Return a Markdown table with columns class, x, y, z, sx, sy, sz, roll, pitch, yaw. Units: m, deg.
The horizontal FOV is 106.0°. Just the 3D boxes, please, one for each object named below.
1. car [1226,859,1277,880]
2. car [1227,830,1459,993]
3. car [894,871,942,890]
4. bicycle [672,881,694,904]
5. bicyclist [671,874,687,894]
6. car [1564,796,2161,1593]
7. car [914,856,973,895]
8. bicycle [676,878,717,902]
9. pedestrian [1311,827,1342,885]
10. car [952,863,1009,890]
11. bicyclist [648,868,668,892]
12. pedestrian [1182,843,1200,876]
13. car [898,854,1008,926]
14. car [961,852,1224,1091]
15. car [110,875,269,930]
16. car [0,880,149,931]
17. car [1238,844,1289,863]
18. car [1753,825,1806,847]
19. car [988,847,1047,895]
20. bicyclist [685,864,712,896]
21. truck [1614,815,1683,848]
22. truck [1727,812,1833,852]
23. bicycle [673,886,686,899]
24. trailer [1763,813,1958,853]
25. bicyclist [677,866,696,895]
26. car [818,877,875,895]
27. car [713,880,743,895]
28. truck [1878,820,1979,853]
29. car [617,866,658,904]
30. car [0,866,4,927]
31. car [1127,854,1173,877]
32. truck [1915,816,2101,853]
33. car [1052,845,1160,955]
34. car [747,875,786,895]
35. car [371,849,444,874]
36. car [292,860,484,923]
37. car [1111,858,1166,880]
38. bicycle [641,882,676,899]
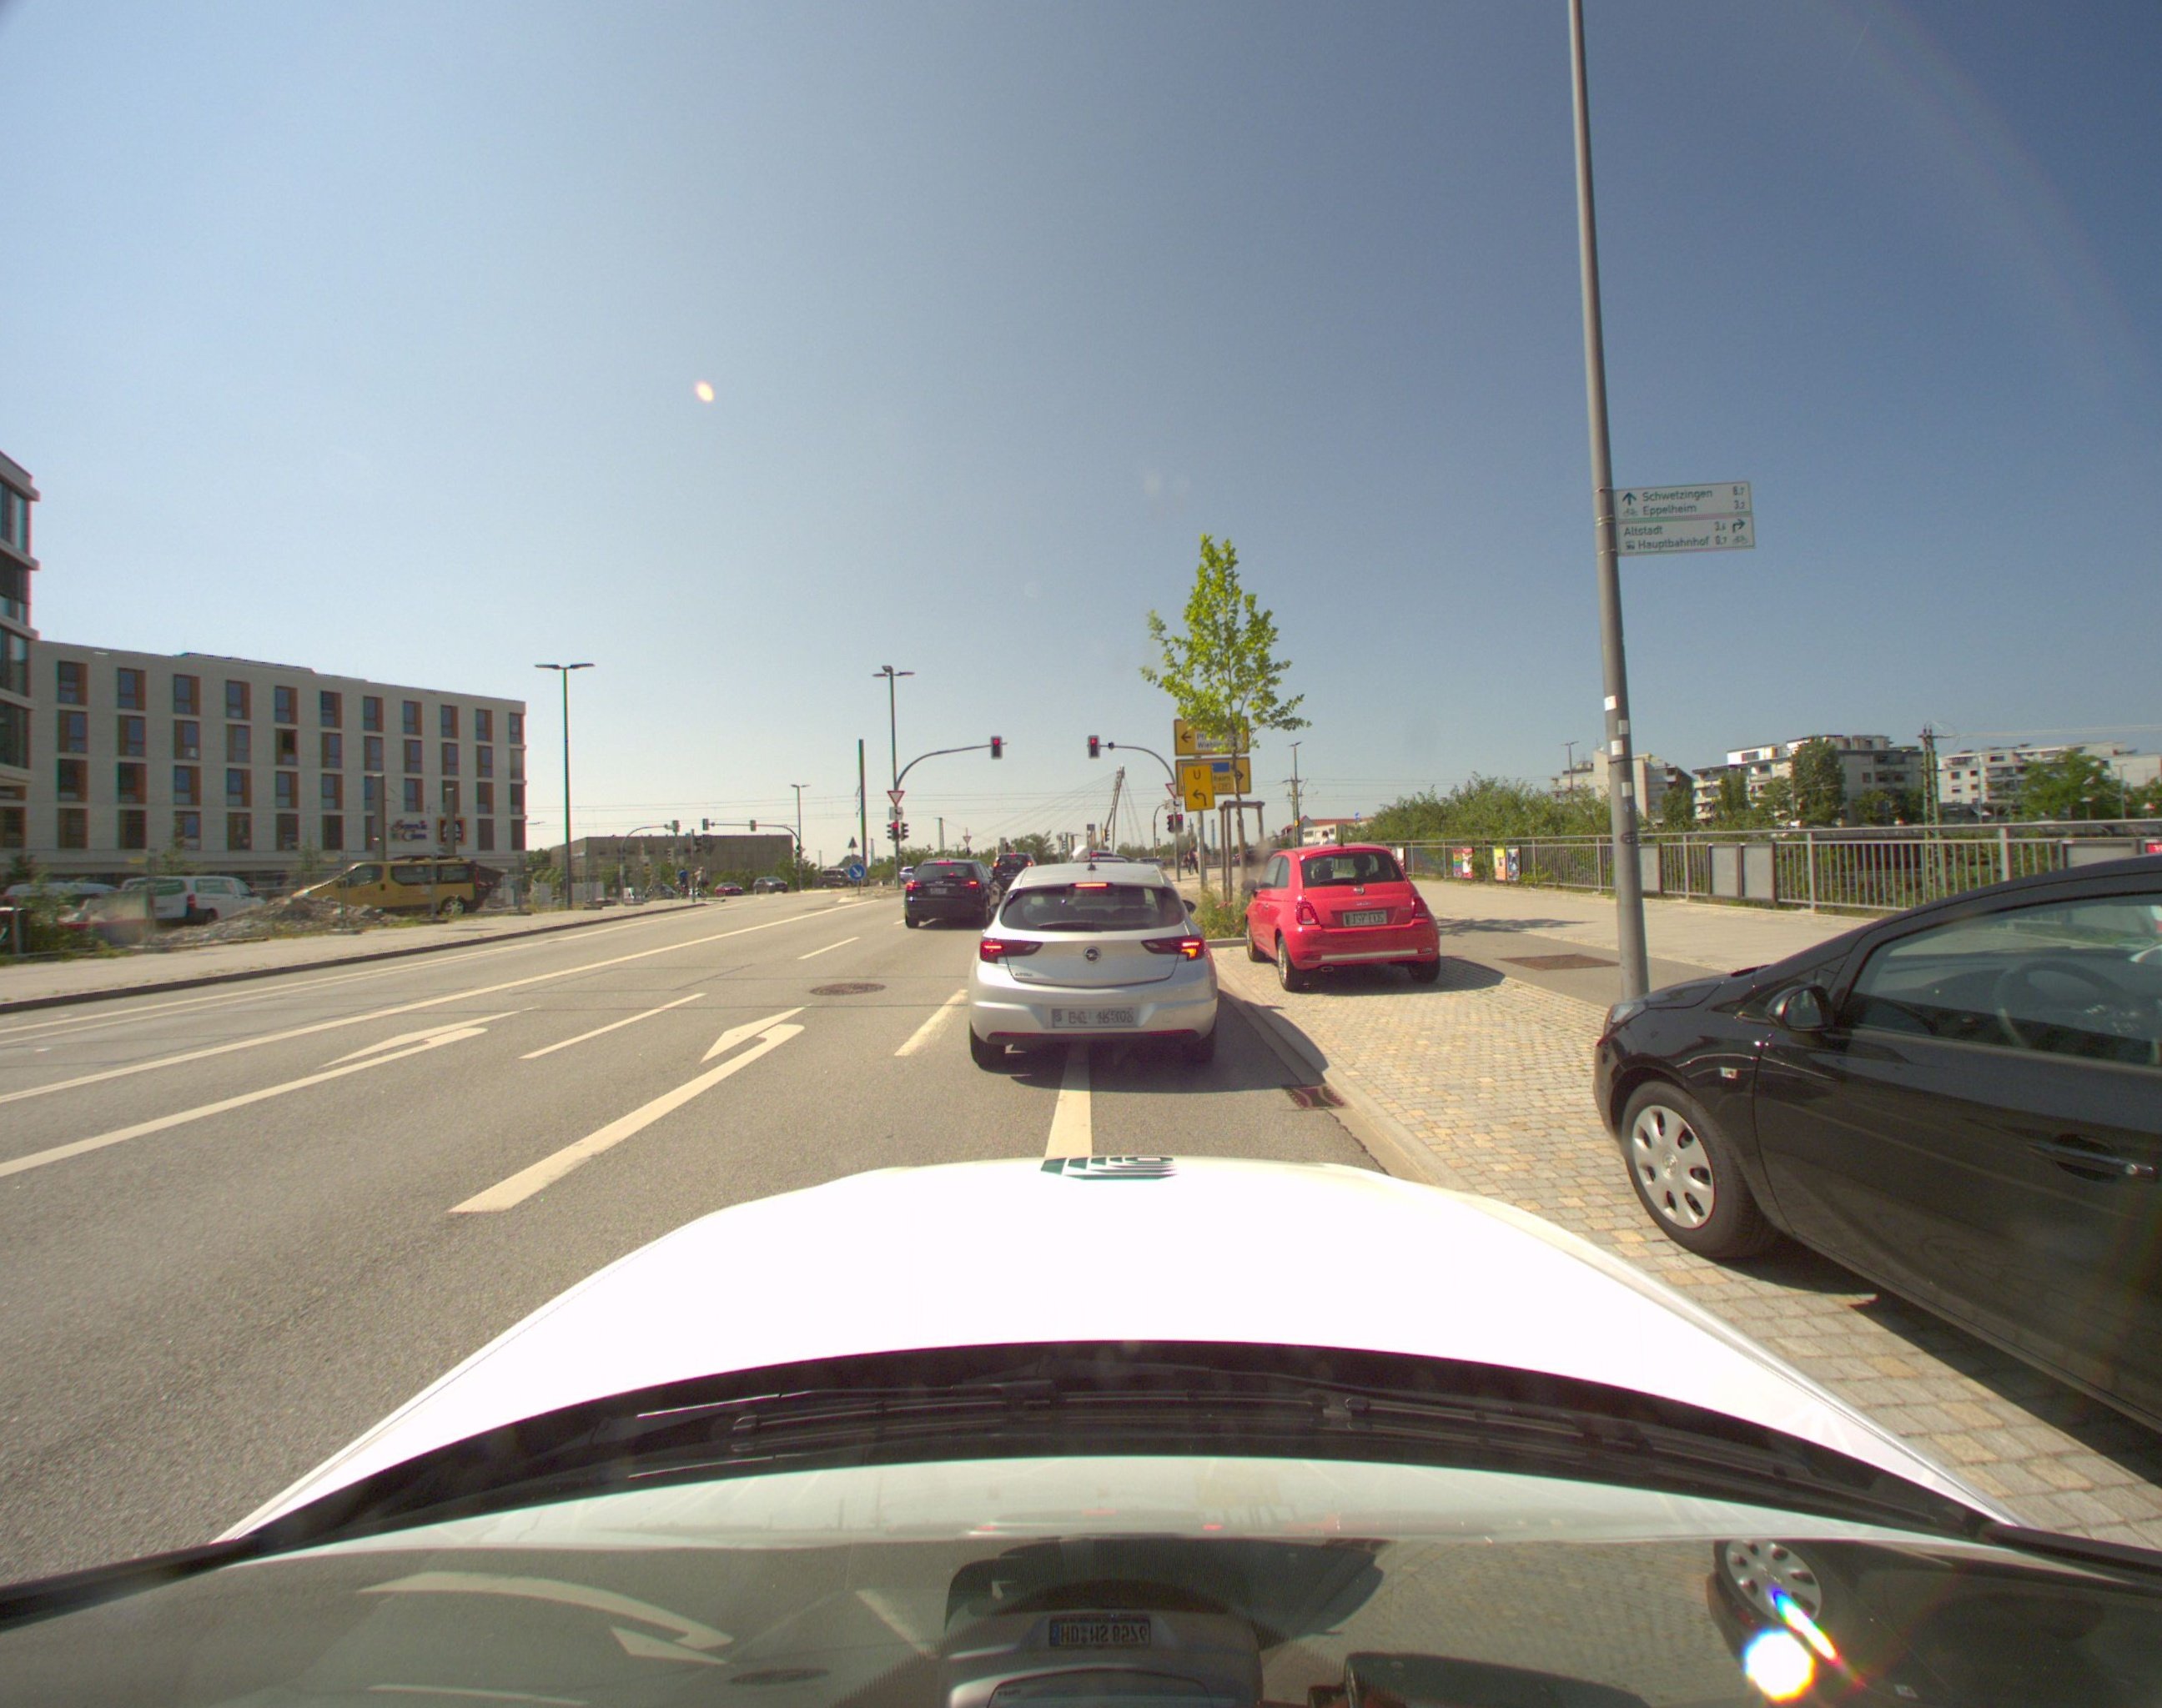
| class | x | y | z | sx | sy | sz | roll | pitch | yaw |
| --- | --- | --- | --- | --- | --- | --- | --- | --- | --- |
| car | 13.390 | 1.189 | 64.104 | 3.504 | 1.641 | 1.795 | 0 | -1 | -8 |
| car | 2.969 | 0.538 | 10.091 | 1.663 | 1.539 | 3.919 | -3 | 1 | 2 |
| car | -12.176 | 1.974 | 60.789 | 3.122 | 1.439 | 1.591 | 0 | -1 | 12 |
| bicycle | -22.002 | 2.110 | 45.023 | 0.731 | 1.134 | 2.506 | -7 | 2 | -32 |
| bicyclist | -23.977 | 1.792 | 48.540 | 0.734 | 1.175 | 0.652 | -1 | -2 | -35 |
| car | 2.887 | 0.639 | 1.736 | 1.576 | 1.555 | 3.548 | -4 | 0 | 1 |
| car | -5.206 | 0.811 | 31.184 | 1.581 | 1.395 | 3.340 | -1 | -1 | 1 |
| bicycle | -19.016 | 1.776 | 40.289 | 2.335 | 1.127 | 0.682 | -1 | -1 | 33 |
| pedestrian | 7.896 | 0.075 | 26.203 | 0.755 | 1.830 | 0.885 | 0 | -1 | 1 |
| car | -7.874 | 1.728 | 63.801 | 3.960 | 2.014 | 2.007 | -1 | -1 | 12 |
| bicyclist | -26.144 | 1.608 | 50.311 | 0.651 | 1.502 | 0.848 | -1 | -1 | 26 |
| pedestrian | 6.226 | 0.322 | 46.157 | 0.744 | 1.863 | 0.747 | -1 | -2 | 43 |
| car | -2.760 | 0.756 | 18.415 | 1.699 | 1.412 | 4.001 | -1 | -1 | 2 |
| car | 0.120 | 0.775 | 7.418 | 1.685 | 1.520 | 4.271 | -1 | 0 | 1 |
| car | -31.063 | 1.619 | 28.599 | 2.003 | 1.707 | 4.526 | 0 | -1 | -23 |
| car | -33.697 | 1.678 | 27.325 | 1.809 | 1.508 | 3.965 | 0 | -1 | -27 |
| car | 17.157 | -0.034 | 76.728 | 4.254 | 1.673 | 1.989 | -1 | -1 | -16 |
| car | 68.971 | -1.772 | 80.446 | 3.993 | 2.014 | 1.990 | 0 | -1 | -14 |
| car | -2.416 | 0.664 | 31.856 | 1.797 | 1.622 | 3.917 | -4 | -1 | 1 |
| bicyclist | -18.878 | 1.280 | 40.202 | 0.936 | 1.569 | 0.828 | -1 | -1 | 33 |
| truck | 52.923 | -2.047 | 75.940 | 5.866 | 2.884 | 2.107 | 0 | -1 | -16 |
| truck | 59.074 | -1.774 | 68.890 | 6.478 | 3.204 | 3.721 | 0 | -1 | -14 |
| bicycle | -23.926 | 2.275 | 48.511 | 0.517 | 0.692 | 2.231 | -1 | -1 | -30 |
| trailer | 68.102 | -1.769 | 71.148 | 17.225 | 3.204 | 3.723 | 0 | -1 | -14 |
| bicyclist | -21.813 | 1.447 | 45.053 | 0.866 | 1.560 | 0.816 | 1 | -1 | -32 |
| car | -19.752 | 2.668 | 68.673 | 4.429 | 1.455 | 2.012 | -1 | -1 | 27 |
| car | -36.269 | 3.405 | 83.652 | 1.693 | 1.455 | 3.953 | 1 | -1 | -41 |
| truck | 84.318 | -1.686 | 81.024 | 9.890 | 3.158 | 2.492 | 0 | -1 | -15 |
| car | -24.267 | 1.650 | 44.492 | 1.681 | 2.014 | 3.959 | 1 | -1 | -32 |
| car | -36.222 | 1.393 | 25.002 | 2.220 | 2.056 | 4.133 | 0 | -1 | -28 |
| car | 6.508 | 1.065 | 77.284 | 3.986 | 2.014 | 1.994 | -2 | -2 | -9 |
| truck | 86.608 | -1.740 | 76.080 | 17.857 | 3.204 | 3.723 | 0 | -1 | -14 |
| car | 0.418 | 0.727 | 14.236 | 1.629 | 1.674 | 3.745 | 0 | -1 | 1 |
| car | -29.085 | 2.847 | 75.296 | 4.159 | 1.741 | 1.728 | -1 | -1 | 43 |
| car | -54.337 | 0.619 | 65.782 | 3.990 | 2.014 | 1.991 | 0 | -1 | -12 |
| car | -22.527 | 1.146 | 26.628 | 1.974 | 1.890 | 4.514 | -1 | -1 | 40 |
| car | 4.151 | 1.088 | 59.445 | 3.808 | 1.629 | 1.854 | 0 | -1 | -4 |
| bicycle | -26.142 | 2.283 | 50.365 | 2.481 | 1.007 | 0.609 | -2 | -3 | 27 |
